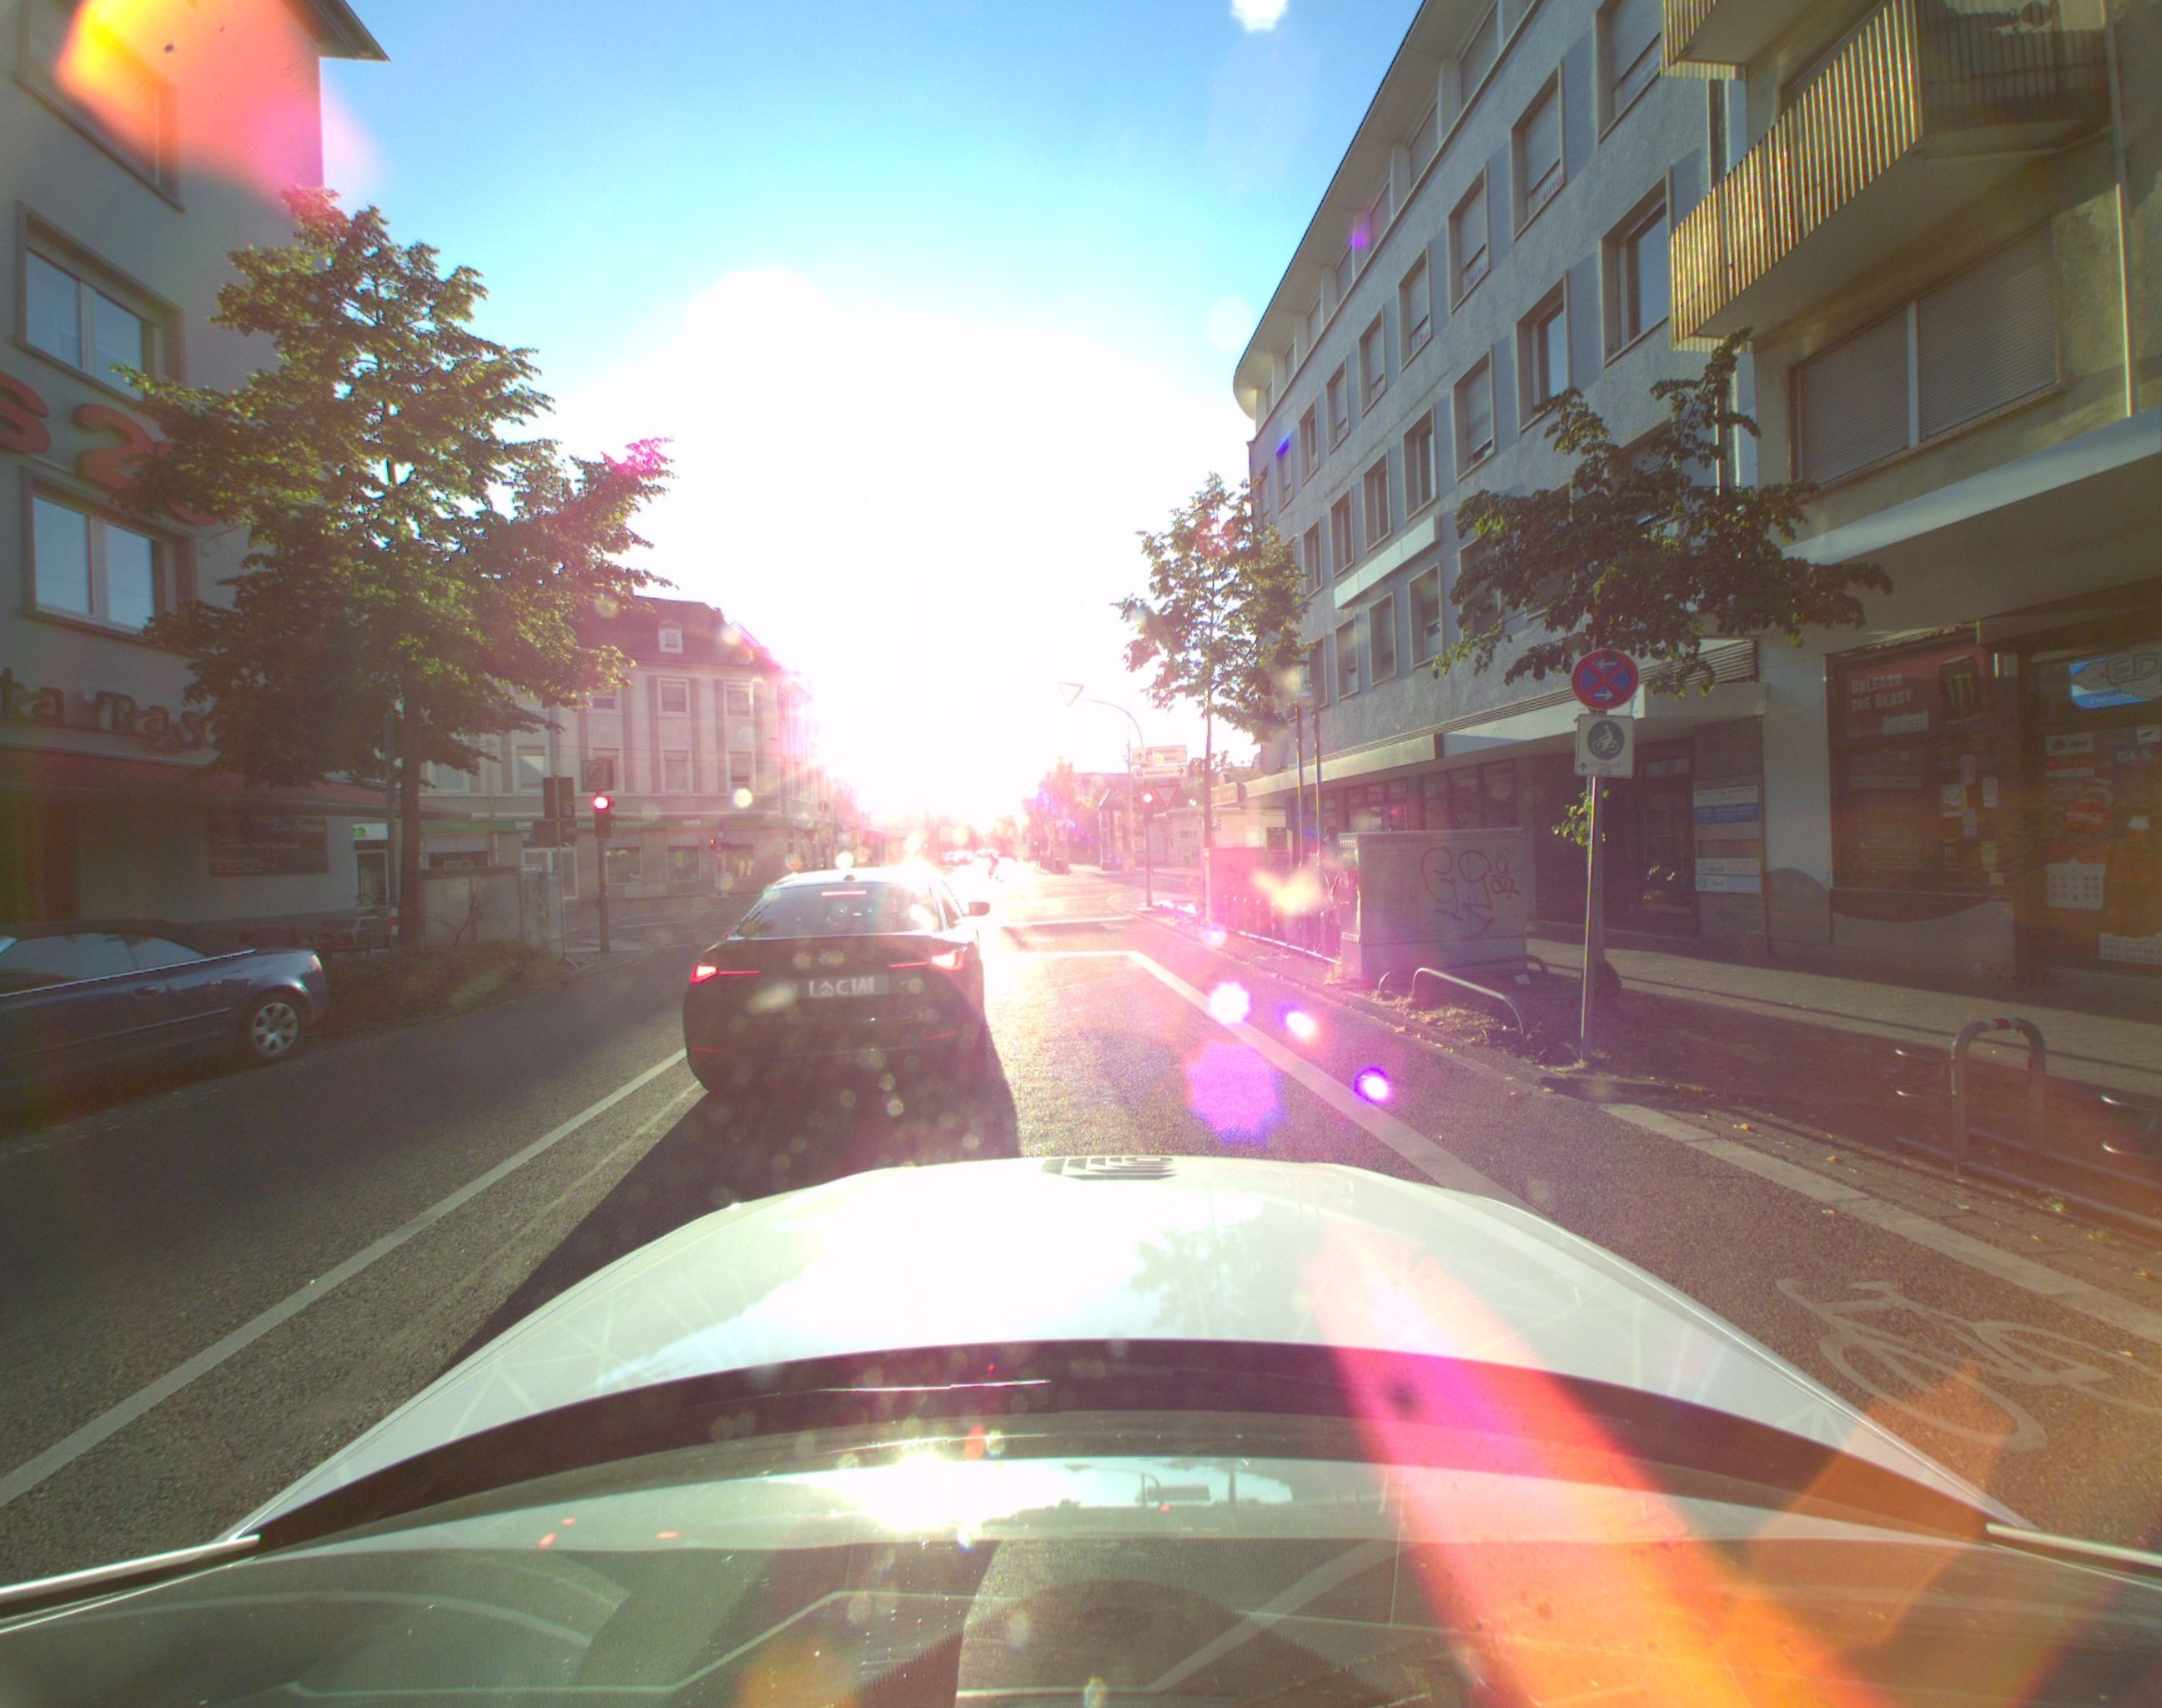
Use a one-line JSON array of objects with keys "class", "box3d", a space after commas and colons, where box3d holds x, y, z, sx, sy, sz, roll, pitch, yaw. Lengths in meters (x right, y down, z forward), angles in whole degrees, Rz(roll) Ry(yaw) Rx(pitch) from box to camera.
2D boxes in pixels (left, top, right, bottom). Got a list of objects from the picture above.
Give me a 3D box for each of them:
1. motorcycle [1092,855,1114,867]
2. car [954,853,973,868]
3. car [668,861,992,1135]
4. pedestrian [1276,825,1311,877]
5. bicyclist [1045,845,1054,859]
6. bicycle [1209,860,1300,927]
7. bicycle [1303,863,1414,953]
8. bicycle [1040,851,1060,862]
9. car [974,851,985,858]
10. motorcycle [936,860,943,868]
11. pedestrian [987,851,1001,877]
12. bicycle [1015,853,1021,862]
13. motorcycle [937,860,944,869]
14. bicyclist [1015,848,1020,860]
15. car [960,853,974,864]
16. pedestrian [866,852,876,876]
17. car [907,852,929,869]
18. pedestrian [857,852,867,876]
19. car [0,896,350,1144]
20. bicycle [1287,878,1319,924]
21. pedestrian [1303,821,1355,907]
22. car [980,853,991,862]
[{"class": "motorcycle", "box3d": [1.843, 0.551, 68.020, 1.673, 0.939, 0.851, -2, 0, -18]}, {"class": "car", "box3d": [-12.774, 0.666, 88.724, 1.816, 1.519, 3.992, -2, 0, -6]}, {"class": "car", "box3d": [-1.644, 0.804, 6.660, 1.735, 1.428, 4.213, -1, 0, -7]}, {"class": "pedestrian", "box3d": [8.027, -0.108, 30.765, 1.007, 1.860, 0.634, -5, 1, -27]}, {"class": "bicyclist", "box3d": [-3.406, -0.178, 89.011, 0.879, 1.505, 0.613, 0, 0, 5]}, {"class": "bicycle", "box3d": [3.230, 0.733, 15.212, 1.610, 1.171, 0.318, -2, 0, -5]}, {"class": "bicycle", "box3d": [3.884, 0.747, 11.423, 1.438, 1.220, 0.383, 0, 0, -5]}, {"class": "bicycle", "box3d": [-3.386, 0.249, 89.029, 2.202, 1.202, 0.621, 0, 0, 4]}, {"class": "car", "box3d": [-22.226, 0.109, 178.051, 1.990, 1.552, 3.994, -3, 1, -4]}, {"class": "motorcycle", "box3d": [-15.922, 1.149, 91.767, 0.574, 0.915, 2.196, 0, 0, -6]}, {"class": "pedestrian", "box3d": [-5.157, 0.578, 48.308, 0.735, 1.529, 0.469, 0, 0, -22]}, {"class": "bicycle", "box3d": [-7.964, 0.436, 102.450, 0.550, 1.159, 2.137, -1, -1, -10]}, {"class": "motorcycle", "box3d": [-15.291, 1.144, 88.826, 0.574, 0.915, 2.196, 0, 0, -6]}, {"class": "bicyclist", "box3d": [-7.983, 0.030, 102.516, 0.550, 1.481, 0.720, -1, -1, -10]}, {"class": "car", "box3d": [-17.292, 0.654, 123.599, 1.816, 1.519, 3.992, -2, 0, -6]}, {"class": "pedestrian", "box3d": [-16.643, 0.770, 64.550, 0.675, 1.876, 0.616, 0, 0, -6]}, {"class": "car", "box3d": [-17.528, 0.677, 87.717, 1.816, 1.788, 3.992, -2, 0, -6]}, {"class": "pedestrian", "box3d": [-17.341, 0.775, 64.405, 0.642, 1.876, 0.630, 0, 0, -7]}, {"class": "car", "box3d": [-7.638, 1.153, 5.544, 1.721, 1.415, 4.270, -4, 0, -7]}, {"class": "bicycle", "box3d": [4.188, 0.875, 15.409, 0.249, 0.796, 1.114, 0, 0, -2]}, {"class": "pedestrian", "box3d": [5.484, 0.218, 18.032, 0.834, 1.841, 0.677, -2, 0, -6]}, {"class": "car", "box3d": [-16.895, 0.594, 144.856, 1.816, 1.519, 3.992, -2, 0, -6]}]
